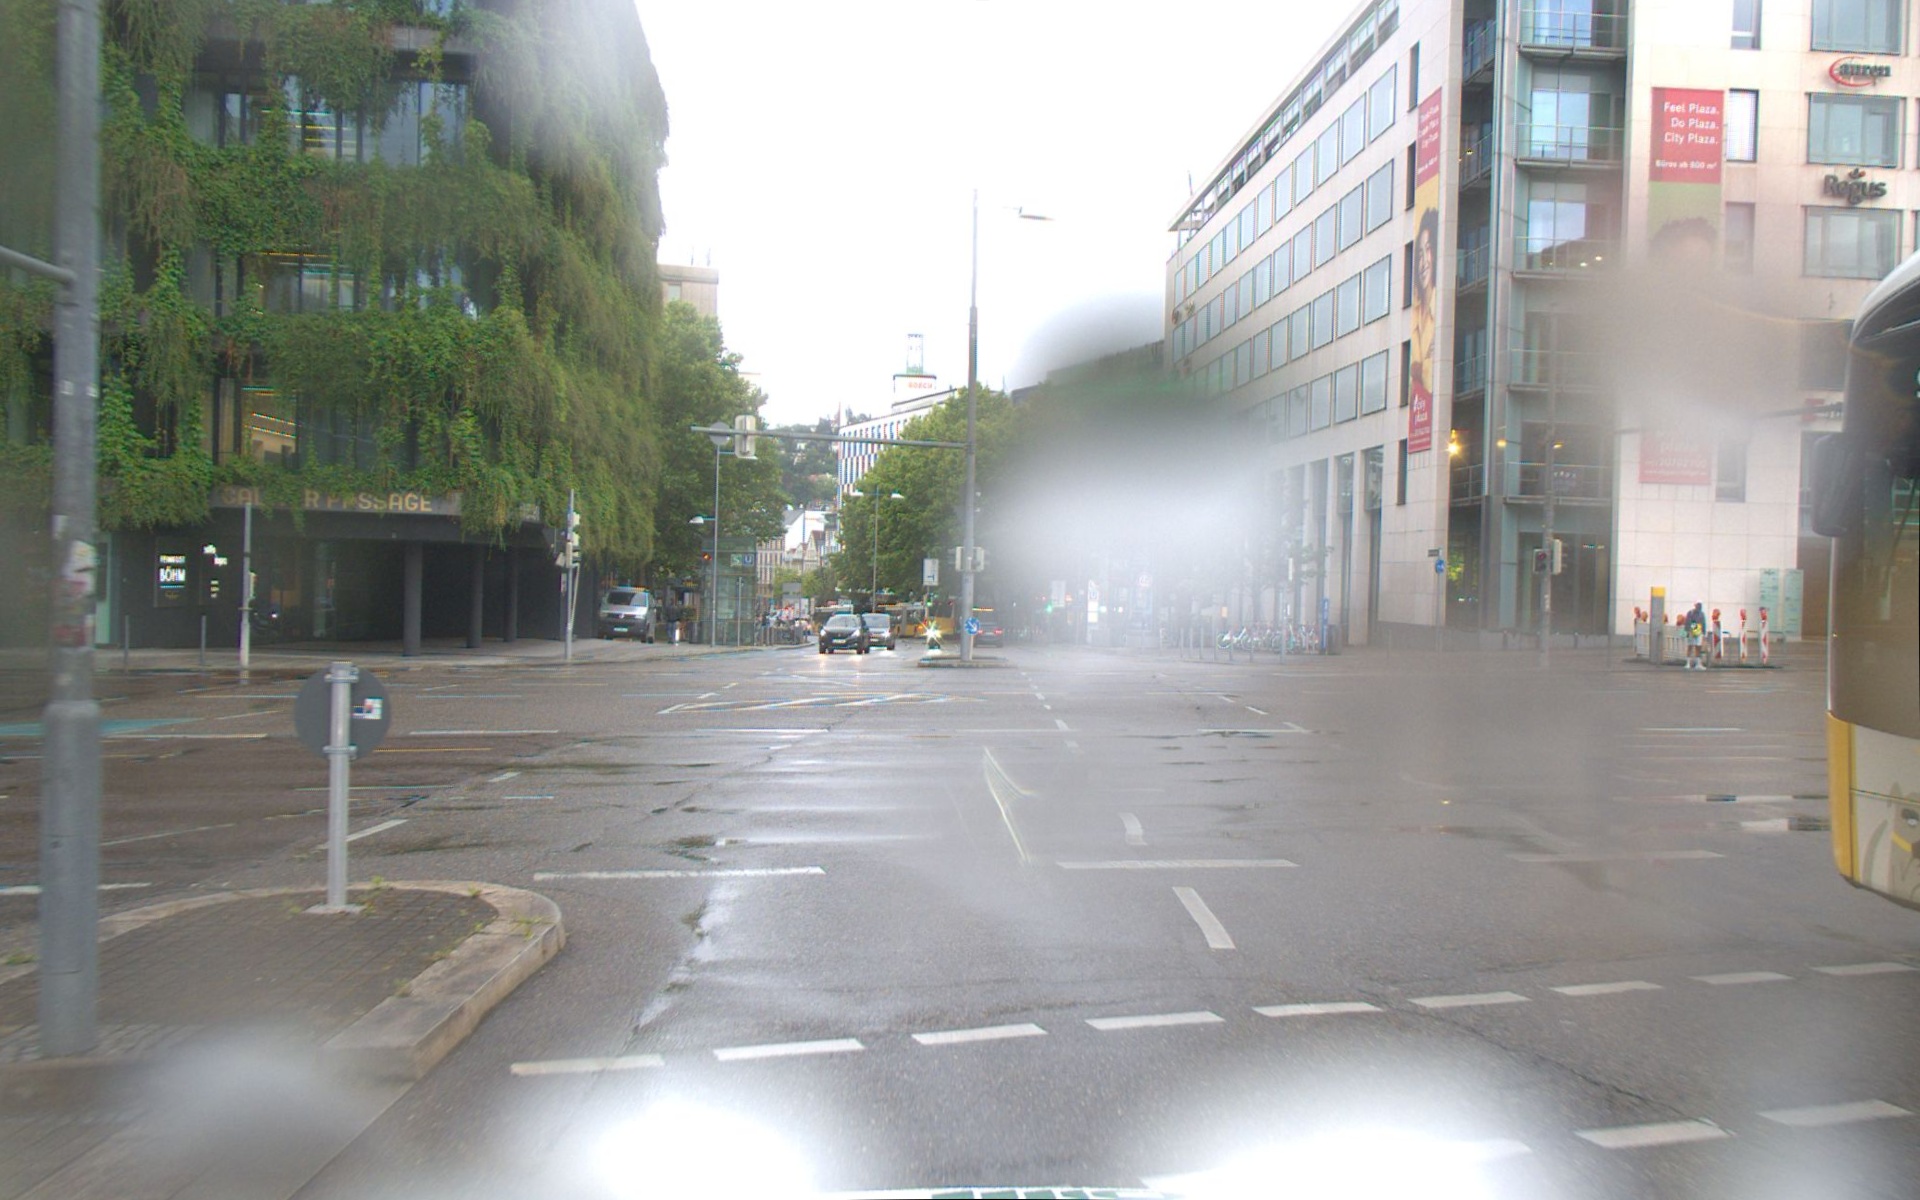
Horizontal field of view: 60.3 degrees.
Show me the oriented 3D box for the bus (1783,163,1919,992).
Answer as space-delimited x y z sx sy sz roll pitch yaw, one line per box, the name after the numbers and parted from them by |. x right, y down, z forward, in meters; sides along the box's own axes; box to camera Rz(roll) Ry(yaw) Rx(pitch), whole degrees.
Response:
5.520 -0.150 3.272 2.824 3.511 9.754 1 -1 -1 | bus

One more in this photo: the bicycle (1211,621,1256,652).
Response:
11.038 1.476 66.819 1.741 1.215 0.586 1 -1 1 | bicycle

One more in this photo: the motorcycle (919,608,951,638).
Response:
-1.410 1.278 91.074 1.521 1.541 4.381 1 -1 -3 | motorcycle

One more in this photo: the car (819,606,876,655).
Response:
-4.420 1.195 65.294 2.121 1.796 5.108 1 -1 -3 | car

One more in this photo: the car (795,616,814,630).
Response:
-16.780 2.486 178.839 1.745 1.534 3.999 1 -1 -1 | car

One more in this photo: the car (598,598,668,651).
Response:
-12.218 0.920 62.061 1.832 1.871 3.999 1 -1 -1 | car

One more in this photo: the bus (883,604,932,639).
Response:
-4.707 1.903 146.916 2.585 3.048 7.417 1 0 -16 | bus

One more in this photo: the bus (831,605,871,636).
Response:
-11.062 2.037 166.971 2.585 3.048 7.296 1 0 -16 | bus

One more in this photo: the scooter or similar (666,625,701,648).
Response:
-12.749 1.688 76.252 0.612 1.022 1.653 0 -1 37 | scooter or similar

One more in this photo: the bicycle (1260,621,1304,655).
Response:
11.754 1.371 60.452 0.578 1.215 1.766 2 -1 -28 | bicycle

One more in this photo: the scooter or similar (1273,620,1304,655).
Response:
11.552 1.325 58.214 0.946 1.215 0.453 0 -2 40 | scooter or similar

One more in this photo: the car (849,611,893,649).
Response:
-4.500 1.510 83.278 2.121 1.796 5.108 1 -1 -3 | car

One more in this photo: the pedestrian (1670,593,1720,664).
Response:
19.585 0.767 44.060 0.942 1.848 0.836 1 -1 -1 | pedestrian

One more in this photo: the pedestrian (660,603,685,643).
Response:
-12.358 0.990 71.017 0.915 1.673 0.774 1 -1 -1 | pedestrian

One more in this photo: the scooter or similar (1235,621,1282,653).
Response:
11.721 1.456 65.038 1.741 1.215 0.586 1 -1 1 | scooter or similar

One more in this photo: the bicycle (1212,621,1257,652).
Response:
11.182 1.491 67.456 1.741 1.215 0.586 1 -1 1 | bicycle

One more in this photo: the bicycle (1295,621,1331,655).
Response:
13.029 1.406 61.027 0.575 1.215 1.776 0 -2 37 | bicycle

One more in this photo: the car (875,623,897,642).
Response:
-6.391 2.825 143.479 1.745 1.534 3.999 1 -1 -1 | car

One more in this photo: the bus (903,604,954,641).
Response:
-2.719 1.850 139.798 2.585 3.048 7.417 1 0 -16 | bus

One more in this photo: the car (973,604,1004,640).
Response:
1.683 1.328 97.747 1.513 2.049 4.665 1 -1 -3 | car

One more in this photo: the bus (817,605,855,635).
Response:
-13.052 2.069 174.039 2.585 3.048 7.417 1 0 -16 | bus

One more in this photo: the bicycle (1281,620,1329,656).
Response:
12.289 1.352 58.908 1.590 1.215 0.586 1 -1 25 | bicycle

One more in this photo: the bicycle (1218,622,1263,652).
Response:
11.599 1.516 68.379 1.741 1.215 0.586 1 -1 1 | bicycle
